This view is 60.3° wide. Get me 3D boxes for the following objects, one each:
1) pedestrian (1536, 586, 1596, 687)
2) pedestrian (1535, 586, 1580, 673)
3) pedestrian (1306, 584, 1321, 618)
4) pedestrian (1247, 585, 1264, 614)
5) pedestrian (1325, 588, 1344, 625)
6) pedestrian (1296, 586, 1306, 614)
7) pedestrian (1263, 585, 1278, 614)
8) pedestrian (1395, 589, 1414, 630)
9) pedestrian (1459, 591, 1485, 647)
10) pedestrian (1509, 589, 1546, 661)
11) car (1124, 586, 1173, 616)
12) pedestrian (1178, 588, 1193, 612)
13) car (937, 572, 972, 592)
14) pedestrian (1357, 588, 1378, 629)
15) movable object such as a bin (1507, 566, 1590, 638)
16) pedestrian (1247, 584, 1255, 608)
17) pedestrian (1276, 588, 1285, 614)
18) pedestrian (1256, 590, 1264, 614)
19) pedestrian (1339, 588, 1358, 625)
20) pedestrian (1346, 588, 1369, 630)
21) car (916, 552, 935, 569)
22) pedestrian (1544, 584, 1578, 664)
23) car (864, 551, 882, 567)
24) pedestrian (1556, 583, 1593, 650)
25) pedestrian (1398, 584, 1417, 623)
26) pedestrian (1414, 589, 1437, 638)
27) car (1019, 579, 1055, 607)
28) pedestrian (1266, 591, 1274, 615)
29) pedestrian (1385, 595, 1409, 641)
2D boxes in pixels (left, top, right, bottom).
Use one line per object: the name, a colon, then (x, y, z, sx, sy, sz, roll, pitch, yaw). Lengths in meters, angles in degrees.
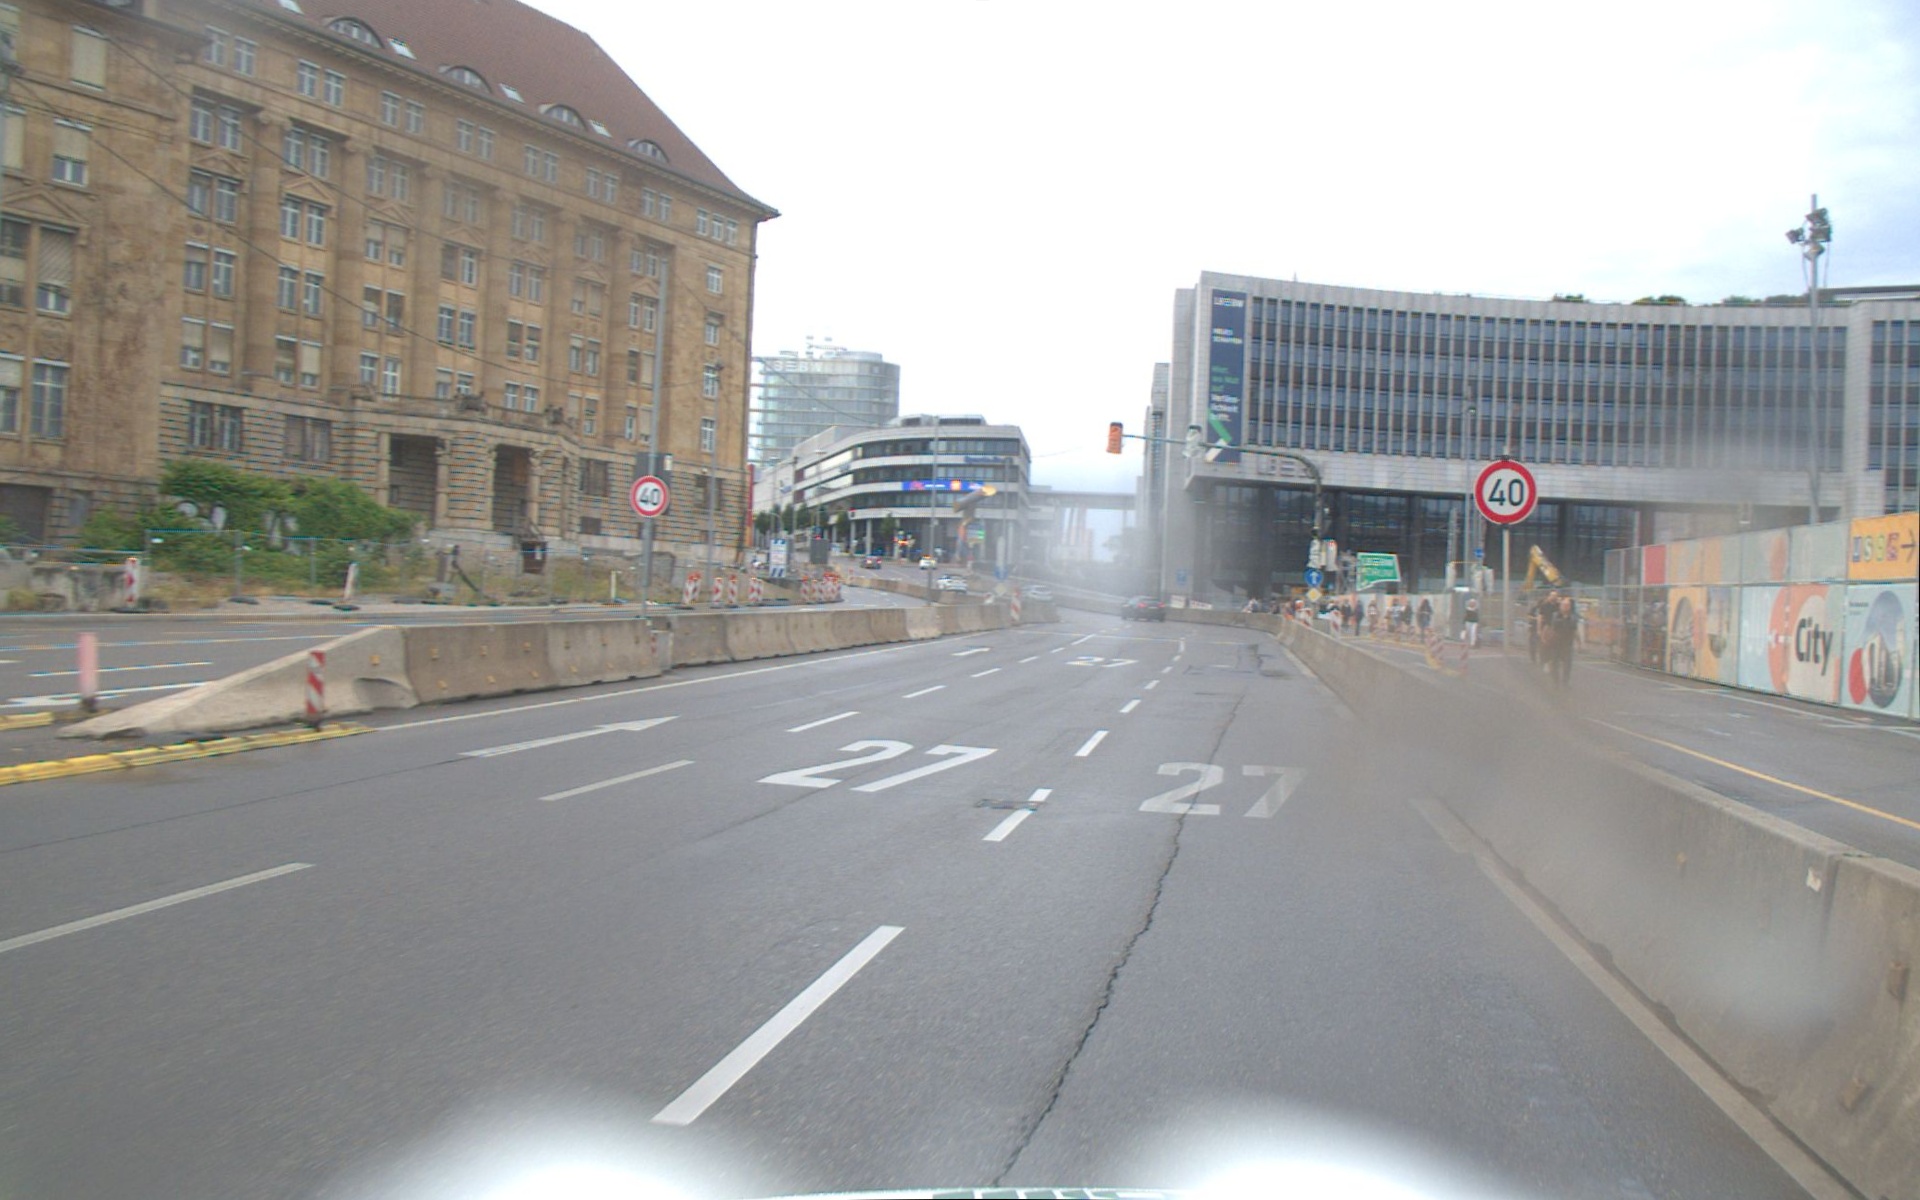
pedestrian: (11.544, 0.677, 31.522, 0.905, 1.865, 0.687, 2, 0, 10)
pedestrian: (13.635, 0.664, 37.740, 0.779, 1.910, 0.821, 2, 0, 10)
pedestrian: (21.723, 0.078, 101.608, 0.767, 2.048, 0.863, 2, 1, 15)
pedestrian: (17.514, -0.016, 97.972, 0.736, 1.670, 0.823, 2, 1, -4)
pedestrian: (19.181, 0.352, 84.659, 0.802, 1.859, 1.112, 1, 0, 6)
pedestrian: (22.693, -0.018, 109.980, 0.518, 1.849, 0.537, 2, 1, 8)
pedestrian: (18.425, -0.045, 98.056, 0.645, 1.670, 0.823, 2, 1, -4)
pedestrian: (21.099, 0.455, 78.510, 0.717, 1.886, 0.832, 2, 0, 6)
pedestrian: (17.860, 0.659, 57.715, 0.650, 1.894, 0.683, 2, 1, 5)
pedestrian: (14.952, 0.646, 43.603, 0.779, 1.865, 0.626, 2, 0, 10)
car: (10.849, 0.068, 95.386, 1.645, 1.534, 3.734, 3, -2, -12)
pedestrian: (17.060, 0.006, 125.180, 0.743, 1.821, 1.054, 2, 0, -13)
car: (-0.456, -1.431, 132.024, 1.713, 1.532, 3.737, 2, 0, -17)
pedestrian: (19.321, 0.382, 78.447, 0.762, 1.894, 1.059, 2, 1, 5)
movable object such as a bin: (35.458, 0.097, 99.749, 3.035, 4.100, 3.683, 2, 0, -15)
pedestrian: (21.362, -0.281, 121.475, 0.439, 1.734, 0.647, 2, 1, 3)
pedestrian: (21.999, 0.069, 113.575, 0.439, 1.734, 0.647, 3, 1, 17)
pedestrian: (22.031, 0.158, 121.401, 0.444, 1.734, 0.647, 2, 1, 3)
pedestrian: (20.128, 0.336, 85.665, 0.762, 1.894, 0.812, 2, 1, 5)
pedestrian: (18.441, 0.395, 76.768, 0.851, 1.894, 0.949, 2, 1, 5)
car: (-4.094, -4.686, 196.313, 1.955, 1.835, 4.261, 2, 1, -5)
pedestrian: (15.853, 0.627, 43.660, 0.664, 2.048, 0.687, 2, 1, 10)
car: (-10.149, -4.765, 192.855, 1.955, 1.835, 4.261, 2, 1, -5)
pedestrian: (17.723, 0.478, 47.719, 0.770, 1.894, 0.683, 2, 1, 4)
pedestrian: (21.918, 0.182, 81.005, 0.762, 1.894, 0.812, 1, 0, 5)
pedestrian: (18.578, 0.544, 66.037, 0.675, 1.894, 0.812, 2, 1, 5)
car: (5.614, -0.514, 120.750, 1.708, 1.908, 3.768, 2, 1, -11)
pedestrian: (22.712, 0.214, 121.309, 0.439, 1.734, 0.647, 2, 1, 3)
pedestrian: (18.514, 0.738, 70.026, 0.762, 1.894, 0.950, 2, 1, 5)
